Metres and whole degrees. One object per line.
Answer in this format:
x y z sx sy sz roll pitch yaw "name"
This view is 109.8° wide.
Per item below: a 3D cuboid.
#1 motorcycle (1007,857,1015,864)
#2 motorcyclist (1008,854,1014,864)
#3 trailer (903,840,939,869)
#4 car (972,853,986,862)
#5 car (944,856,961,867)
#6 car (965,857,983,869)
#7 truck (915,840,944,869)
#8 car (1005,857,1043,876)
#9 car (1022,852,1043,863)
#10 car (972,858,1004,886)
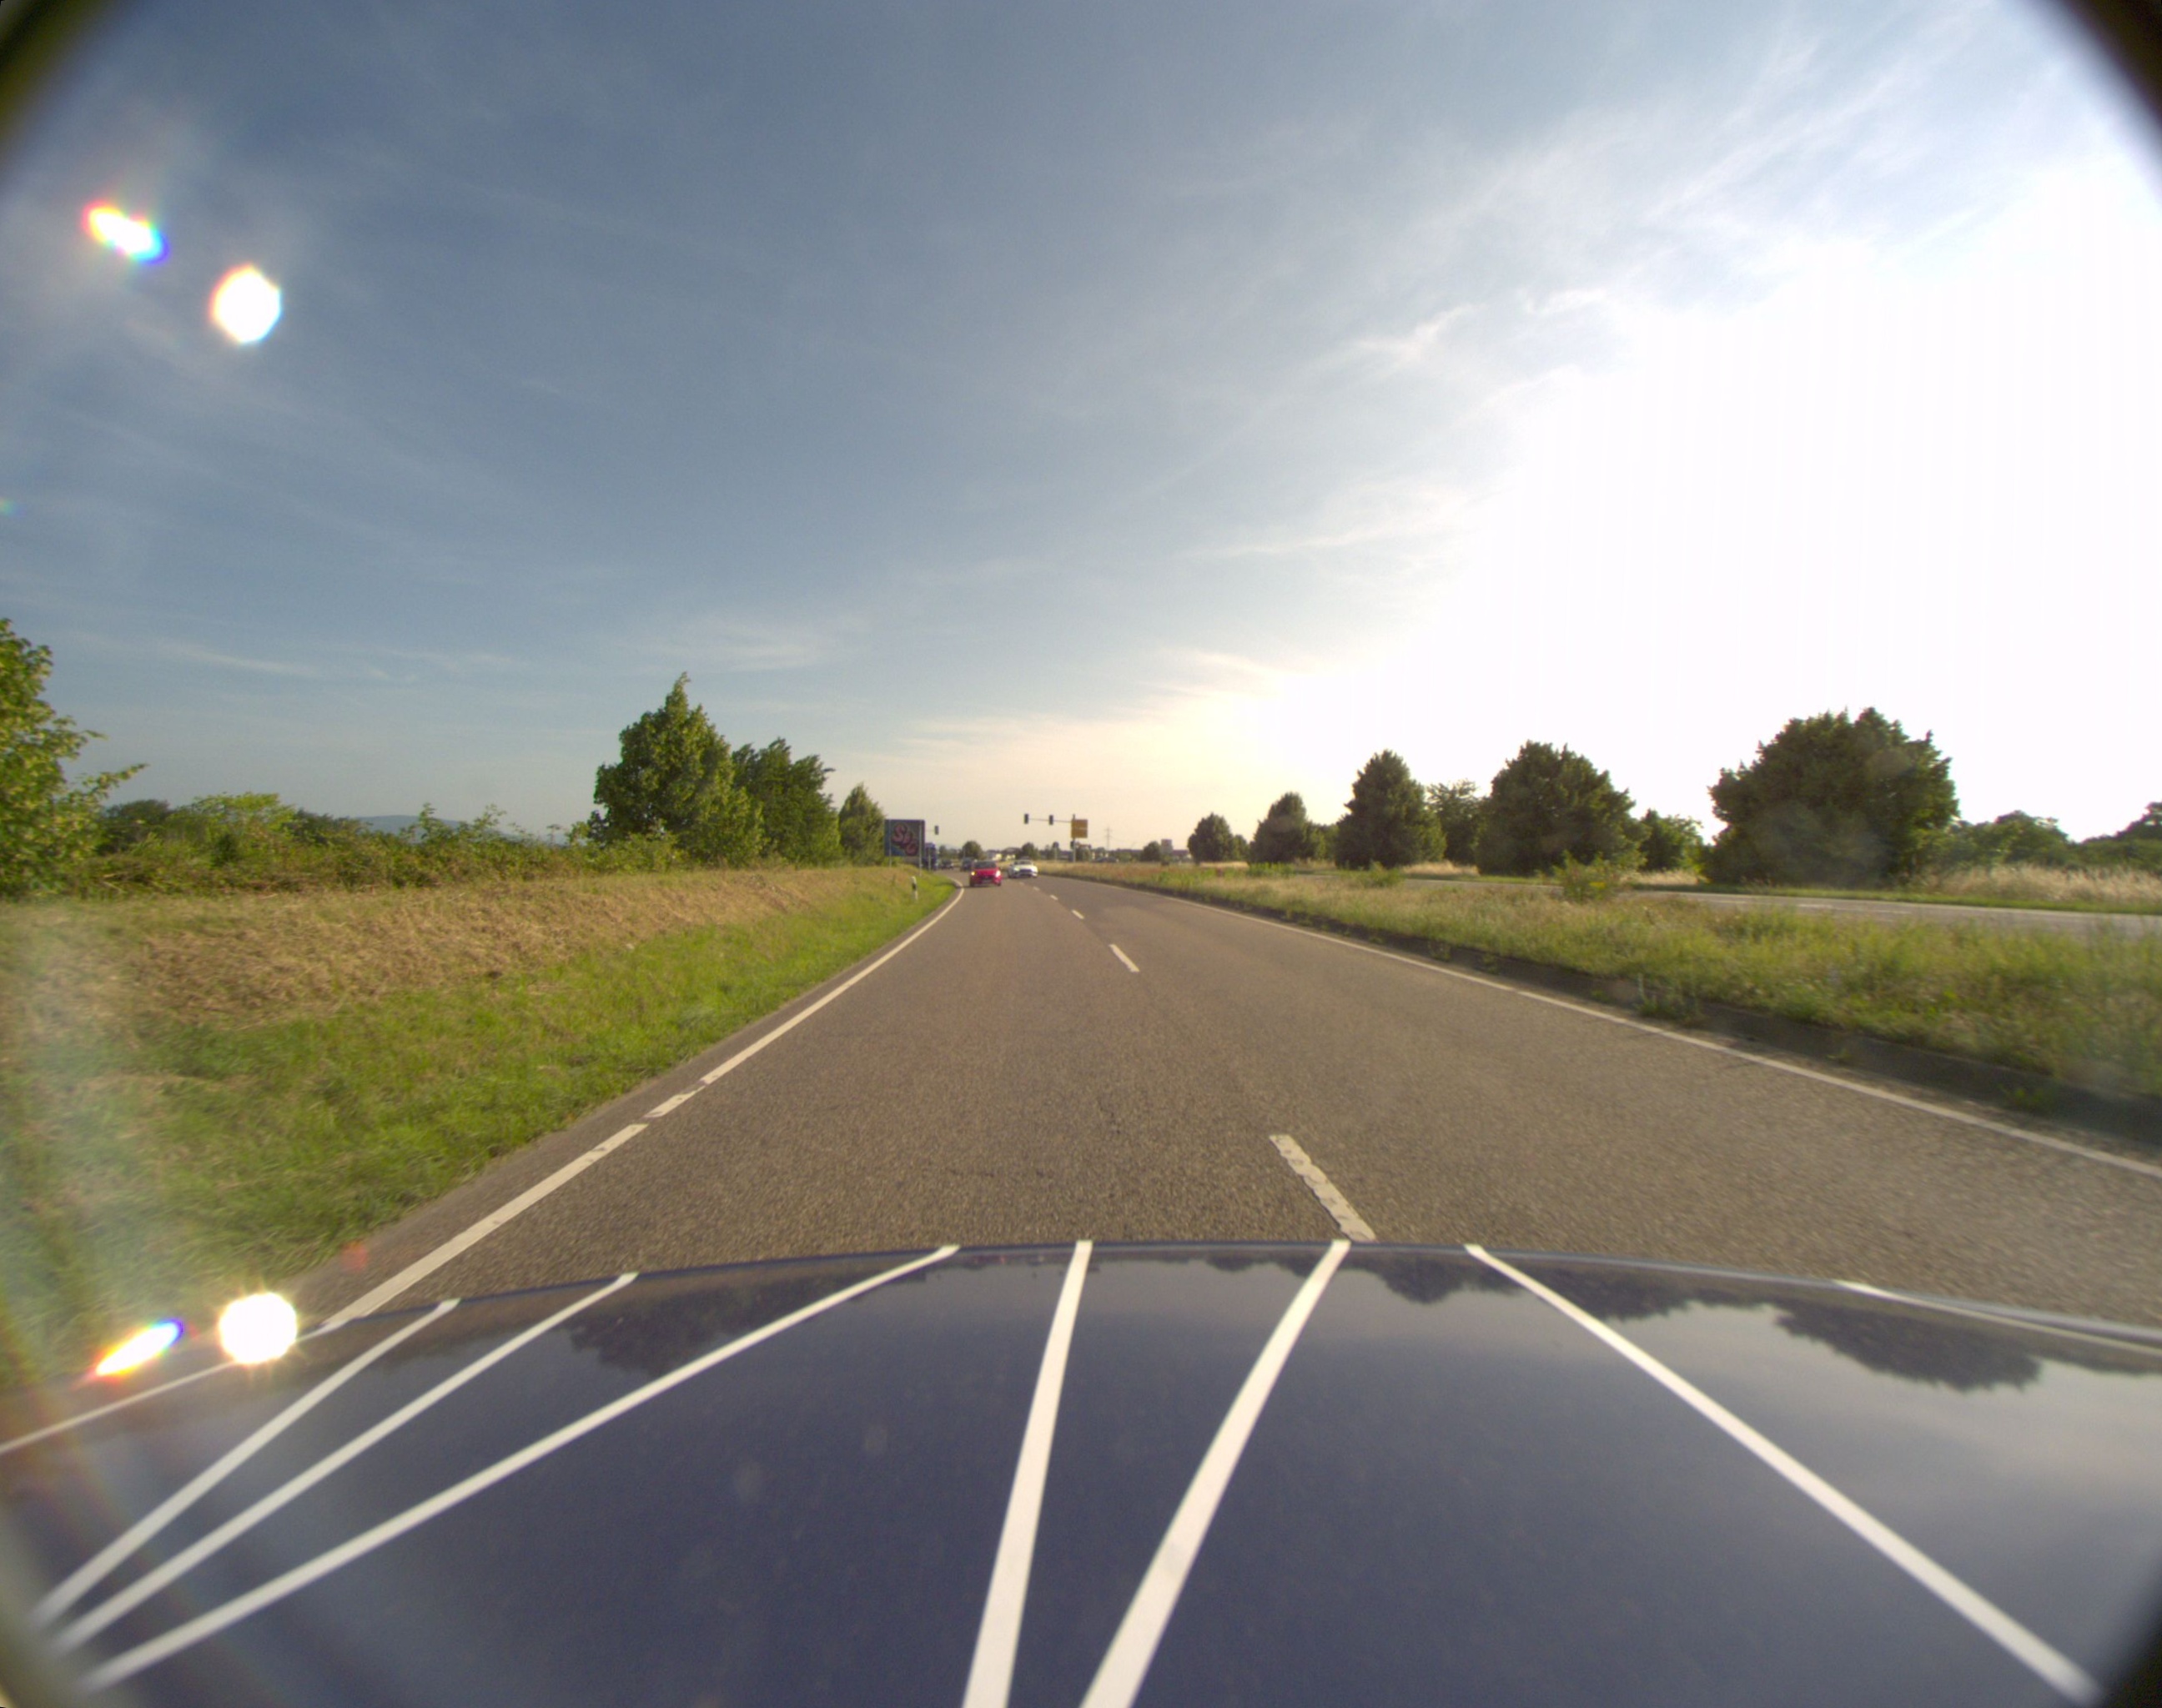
-11.976 1.108 129.733 0.755 1.087 2.304 -2 1 -21 "motorcycle"
-11.987 0.835 129.741 0.755 1.595 1.247 -2 1 -21 "motorcyclist"
-23.484 0.022 110.842 2.656 3.956 13.903 -2 1 -22 "trailer"
-19.685 0.662 146.640 1.713 1.516 4.128 -2 1 -19 "car"
-18.944 1.126 112.066 1.834 1.521 3.993 -1 0 -18 "car"
-13.331 1.099 94.181 1.753 1.521 3.995 -1 0 -15 "car"
-20.887 0.066 104.591 2.656 3.897 5.939 -2 1 -22 "truck"
-4.504 0.949 59.393 1.878 1.390 4.197 -1 1 -19 "car"
-7.649 0.523 119.499 1.920 1.556 4.602 -1 0 -20 "car"
-5.415 0.989 44.048 1.667 1.455 3.951 -1 1 -9 "car"
